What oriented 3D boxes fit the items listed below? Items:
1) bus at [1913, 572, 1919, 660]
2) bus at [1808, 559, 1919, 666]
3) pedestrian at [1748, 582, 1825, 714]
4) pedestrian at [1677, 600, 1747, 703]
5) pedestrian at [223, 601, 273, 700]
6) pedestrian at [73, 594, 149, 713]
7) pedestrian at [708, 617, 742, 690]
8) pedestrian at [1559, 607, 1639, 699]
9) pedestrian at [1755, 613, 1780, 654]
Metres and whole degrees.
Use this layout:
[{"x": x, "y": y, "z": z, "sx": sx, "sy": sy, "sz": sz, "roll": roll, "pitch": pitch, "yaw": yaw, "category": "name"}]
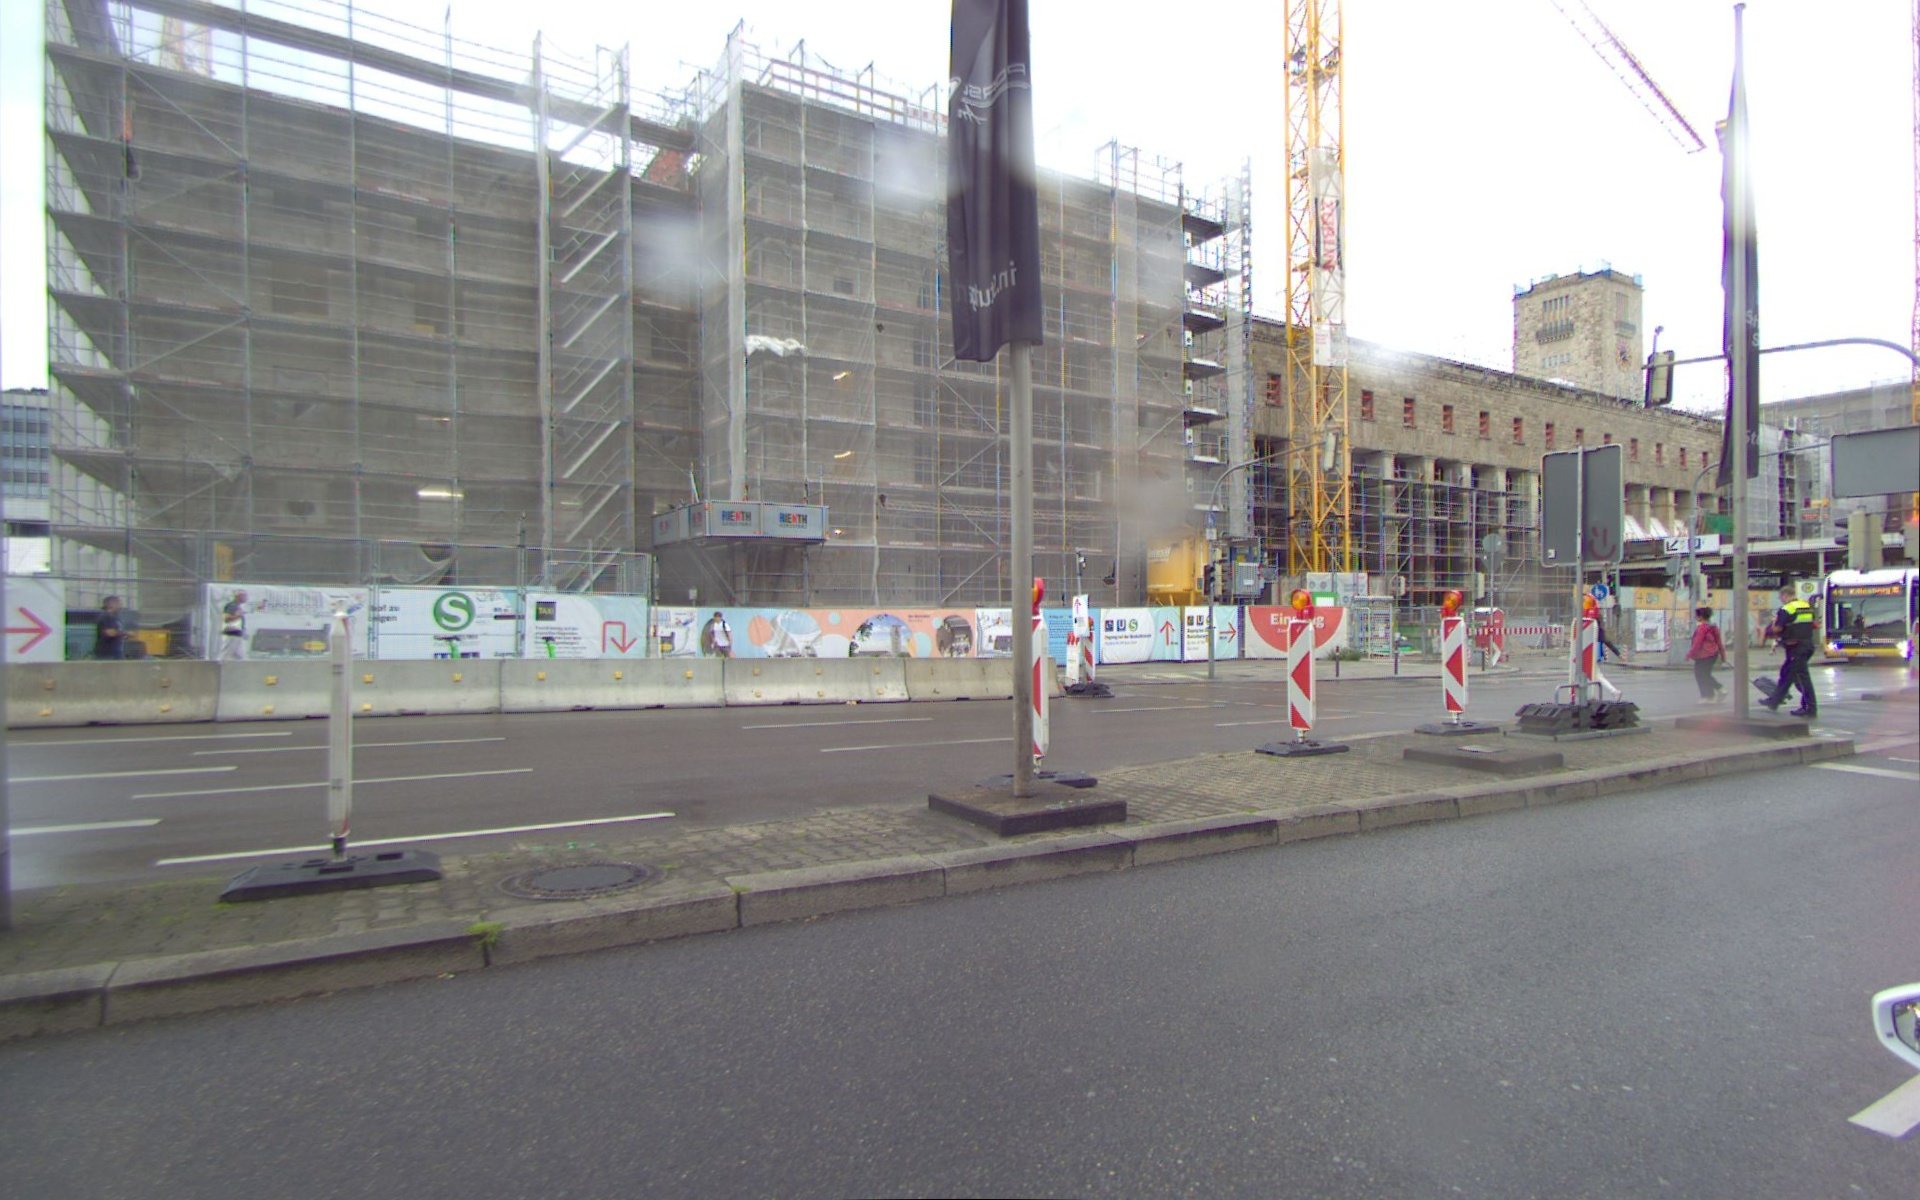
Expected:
[{"x": 44.542, "y": 0.780, "z": 43.044, "sx": 10.092, "sy": 3.650, "sz": 2.655, "roll": 2, "pitch": 0, "yaw": -30, "category": "bus"}, {"x": 35.883, "y": 0.542, "z": 37.913, "sx": 10.119, "sy": 3.650, "sz": 2.655, "roll": 2, "pitch": 0, "yaw": -30, "category": "bus"}, {"x": 11.972, "y": 0.681, "z": 14.549, "sx": 0.810, "sy": 1.860, "sz": 0.575, "roll": 1, "pitch": 0, "yaw": -30, "category": "pedestrian"}, {"x": 13.131, "y": 0.897, "z": 17.548, "sx": 0.613, "sy": 1.740, "sz": 0.794, "roll": 1, "pitch": -2, "yaw": -33, "category": "pedestrian"}, {"x": -13.770, "y": 0.970, "z": 19.428, "sx": 0.709, "sy": 1.860, "sz": 0.478, "roll": 1, "pitch": 0, "yaw": -30, "category": "pedestrian"}, {"x": -13.658, "y": 0.848, "z": 16.183, "sx": 0.810, "sy": 1.860, "sz": 0.575, "roll": 1, "pitch": 0, "yaw": -30, "category": "pedestrian"}, {"x": -6.068, "y": 1.374, "z": 25.938, "sx": 0.709, "sy": 1.860, "sz": 0.478, "roll": 1, "pitch": 0, "yaw": -30, "category": "pedestrian"}, {"x": 11.522, "y": 0.927, "z": 18.109, "sx": 0.890, "sy": 1.584, "sz": 0.909, "roll": 1, "pitch": 0, "yaw": -33, "category": "pedestrian"}, {"x": 37.250, "y": 1.553, "z": 46.330, "sx": 0.789, "sy": 1.879, "sz": 0.658, "roll": 1, "pitch": -1, "yaw": -30, "category": "pedestrian"}]
